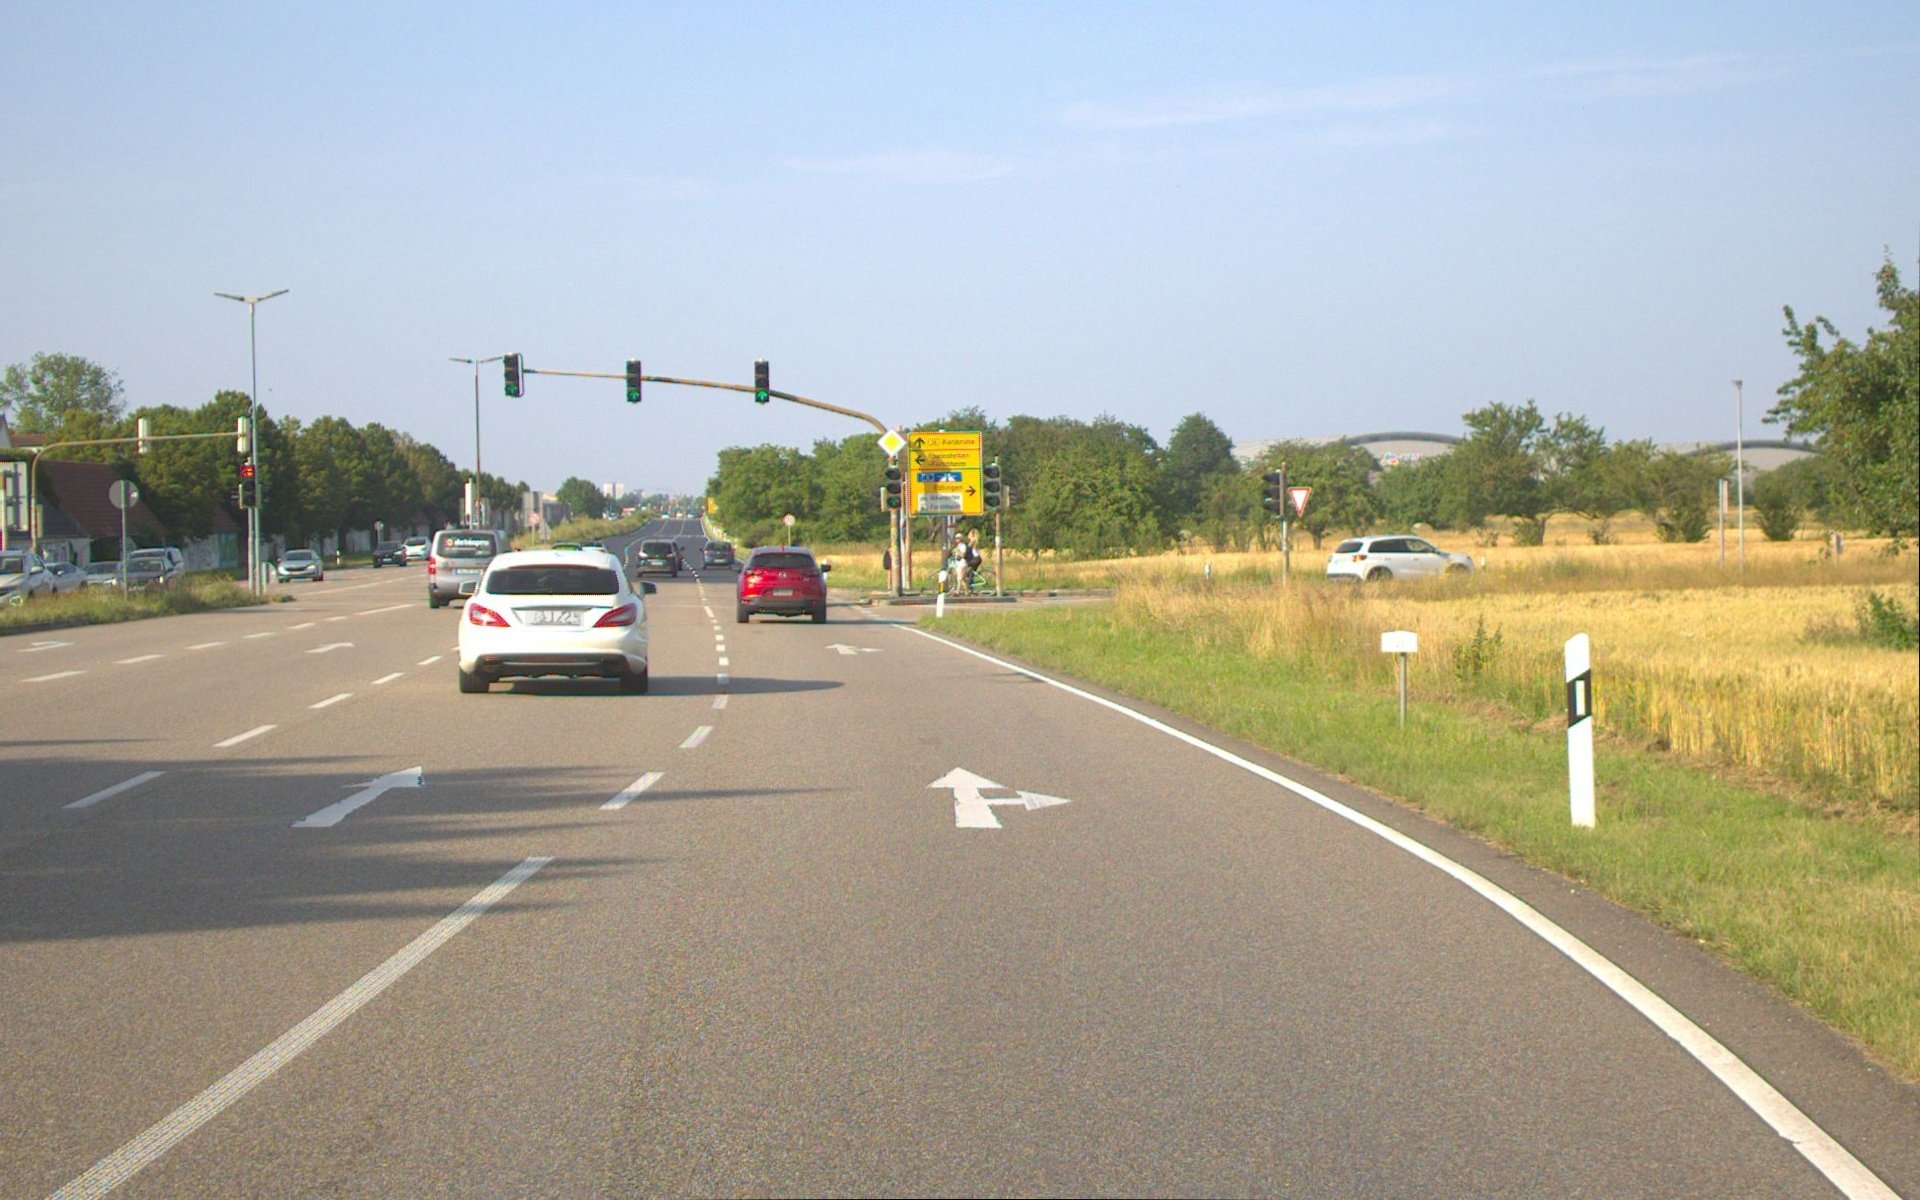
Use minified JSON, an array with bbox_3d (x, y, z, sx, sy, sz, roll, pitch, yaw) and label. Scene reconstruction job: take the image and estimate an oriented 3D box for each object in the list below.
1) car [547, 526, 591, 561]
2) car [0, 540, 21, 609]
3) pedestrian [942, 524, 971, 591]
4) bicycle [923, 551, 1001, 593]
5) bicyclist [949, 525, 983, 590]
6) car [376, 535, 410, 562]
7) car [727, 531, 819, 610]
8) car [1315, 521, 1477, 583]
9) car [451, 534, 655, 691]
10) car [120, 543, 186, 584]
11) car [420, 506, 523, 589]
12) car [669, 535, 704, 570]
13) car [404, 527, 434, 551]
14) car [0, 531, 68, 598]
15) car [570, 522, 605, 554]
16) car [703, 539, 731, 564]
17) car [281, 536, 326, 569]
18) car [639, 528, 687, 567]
[{"bbox_3d":[-17.217,-2.516,151.483,1.717,1.487,3.585,1,1,-4],"label":"car"},{"bbox_3d":[-24.630,-0.639,84.889,1.976,1.659,4.591,1,1,-5],"label":"car"},{"bbox_3d":[-0.105,-1.129,91.161,0.710,1.745,0.863,1,1,-2],"label":"pedestrian"},{"bbox_3d":[0.052,-0.748,93.037,2.096,1.085,0.808,1,1,0],"label":"bicycle"},{"bbox_3d":[0.148,-1.153,93.016,0.848,1.750,0.799,1,1,-3],"label":"bicyclist"},{"bbox_3d":[-34.829,-3.173,211.215,1.734,1.568,3.704,1,1,-4],"label":"car"},{"bbox_3d":[-3.731,-0.613,68.422,1.754,1.511,4.001,-1,1,-3],"label":"car"},{"bbox_3d":[11.926,-1.311,94.078,3.986,1.592,1.861,1,1,-24],"label":"car"},{"bbox_3d":[-4.105,0.085,35.175,1.894,1.503,4.001,0,1,-4],"label":"car"},{"bbox_3d":[-26.911,-1.221,114.653,1.684,1.282,3.148,1,1,-5],"label":"car"},{"bbox_3d":[-11.736,-1.299,82.843,2.025,1.885,4.959,1,2,-3],"label":"car"},{"bbox_3d":[-13.791,-2.403,173.196,1.710,1.730,3.868,1,1,-5],"label":"car"},{"bbox_3d":[-37.049,-4.193,235.572,1.734,1.568,3.704,1,1,-4],"label":"car"},{"bbox_3d":[-19.848,-0.759,71.132,1.873,1.317,4.714,1,1,-5],"label":"car"},{"bbox_3d":[-20.113,-3.368,185.692,1.775,1.660,3.664,1,1,-8],"label":"car"},{"bbox_3d":[-12.696,-2.542,179.768,1.439,1.279,2.915,1,1,-3],"label":"car"},{"bbox_3d":[-30.443,-2.221,159.561,1.783,1.432,4.358,1,1,-8],"label":"car"},{"bbox_3d":[-13.079,-2.329,151.382,1.839,1.678,4.000,1,1,-2],"label":"car"}]
